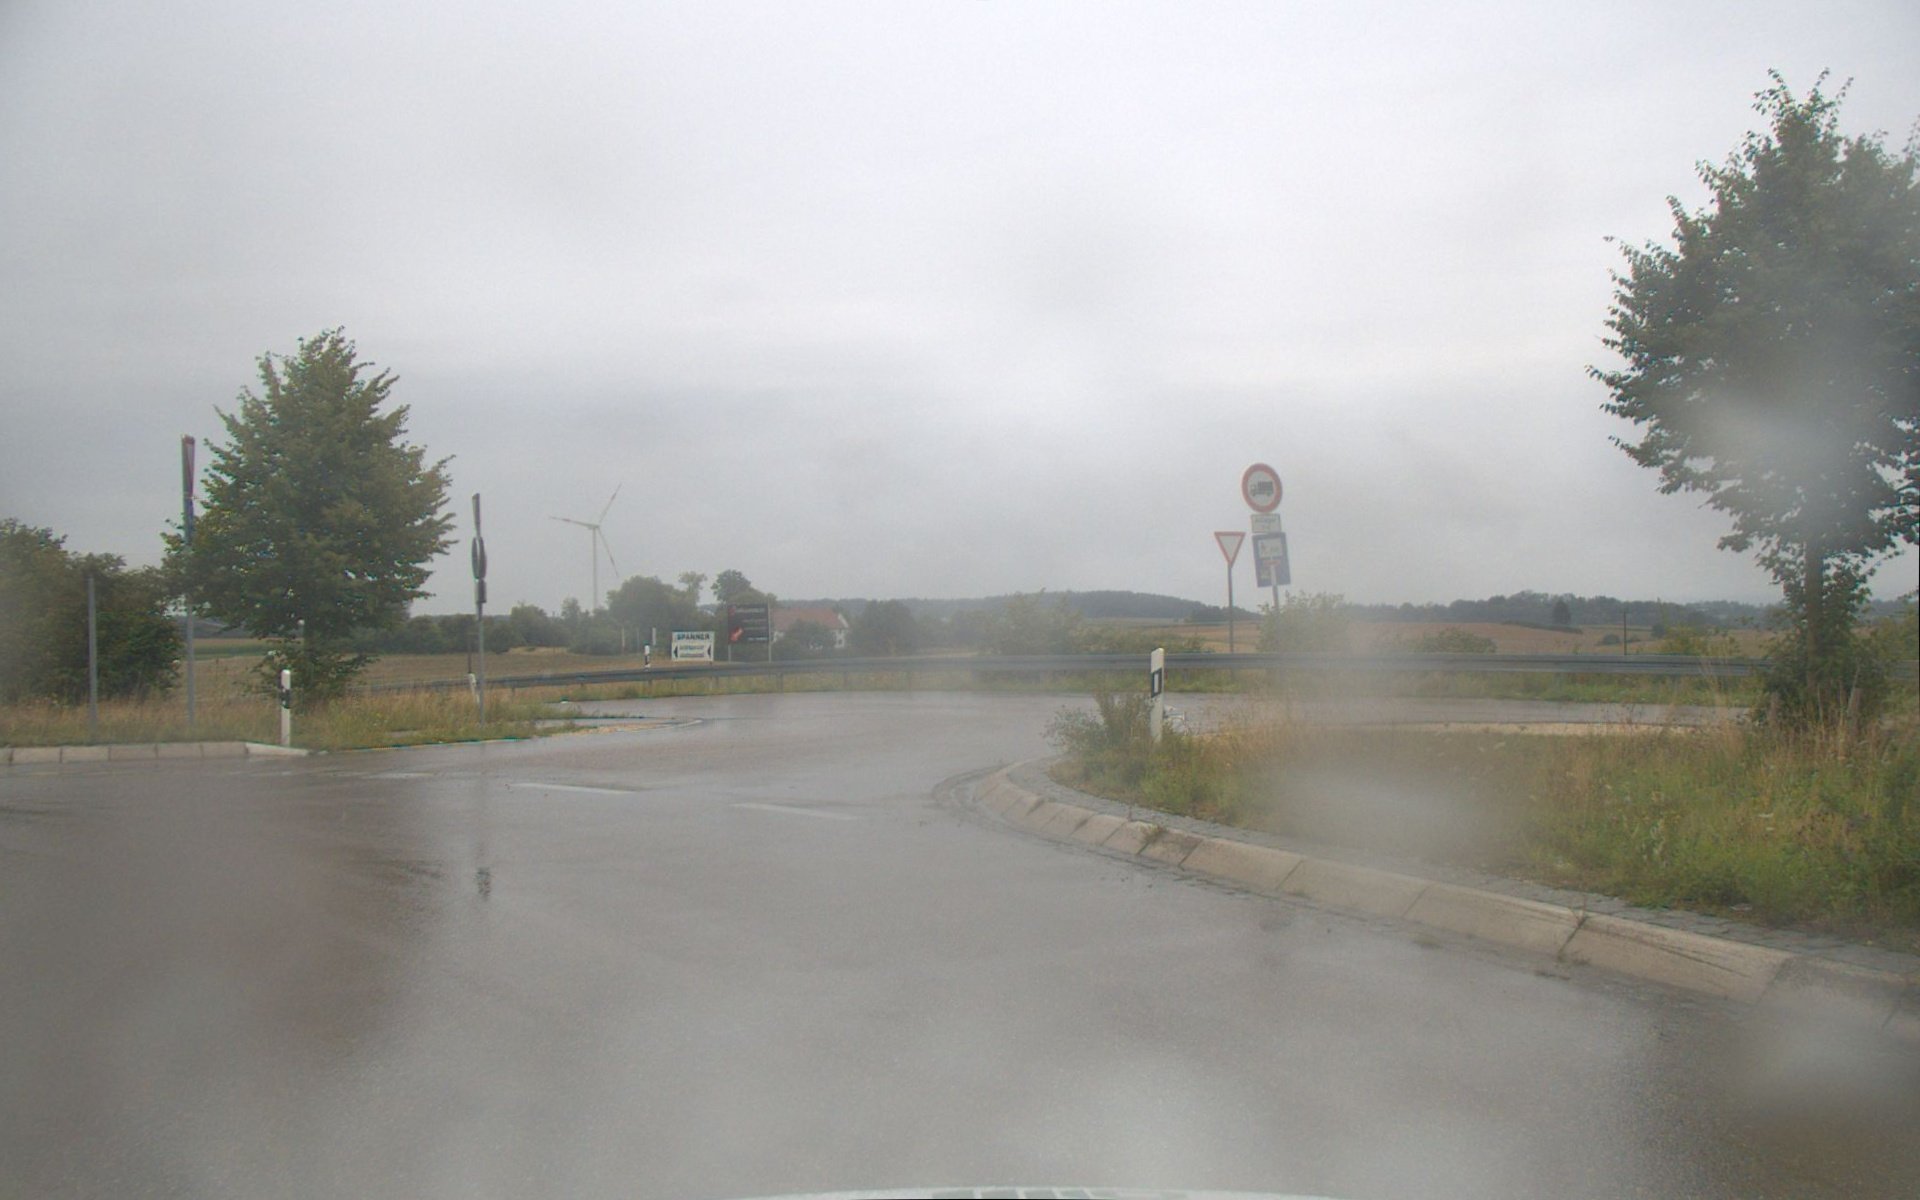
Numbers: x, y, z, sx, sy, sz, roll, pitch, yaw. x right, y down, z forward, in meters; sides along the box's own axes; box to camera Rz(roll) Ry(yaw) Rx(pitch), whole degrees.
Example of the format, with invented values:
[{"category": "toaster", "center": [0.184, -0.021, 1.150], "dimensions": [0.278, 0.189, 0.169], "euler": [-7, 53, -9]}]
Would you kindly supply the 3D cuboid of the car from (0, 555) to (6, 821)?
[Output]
[{"category": "car", "center": [-9.428, 0.670, 12.325], "dimensions": [4.873, 1.903, 1.995], "euler": [-1, 1, 33]}]
